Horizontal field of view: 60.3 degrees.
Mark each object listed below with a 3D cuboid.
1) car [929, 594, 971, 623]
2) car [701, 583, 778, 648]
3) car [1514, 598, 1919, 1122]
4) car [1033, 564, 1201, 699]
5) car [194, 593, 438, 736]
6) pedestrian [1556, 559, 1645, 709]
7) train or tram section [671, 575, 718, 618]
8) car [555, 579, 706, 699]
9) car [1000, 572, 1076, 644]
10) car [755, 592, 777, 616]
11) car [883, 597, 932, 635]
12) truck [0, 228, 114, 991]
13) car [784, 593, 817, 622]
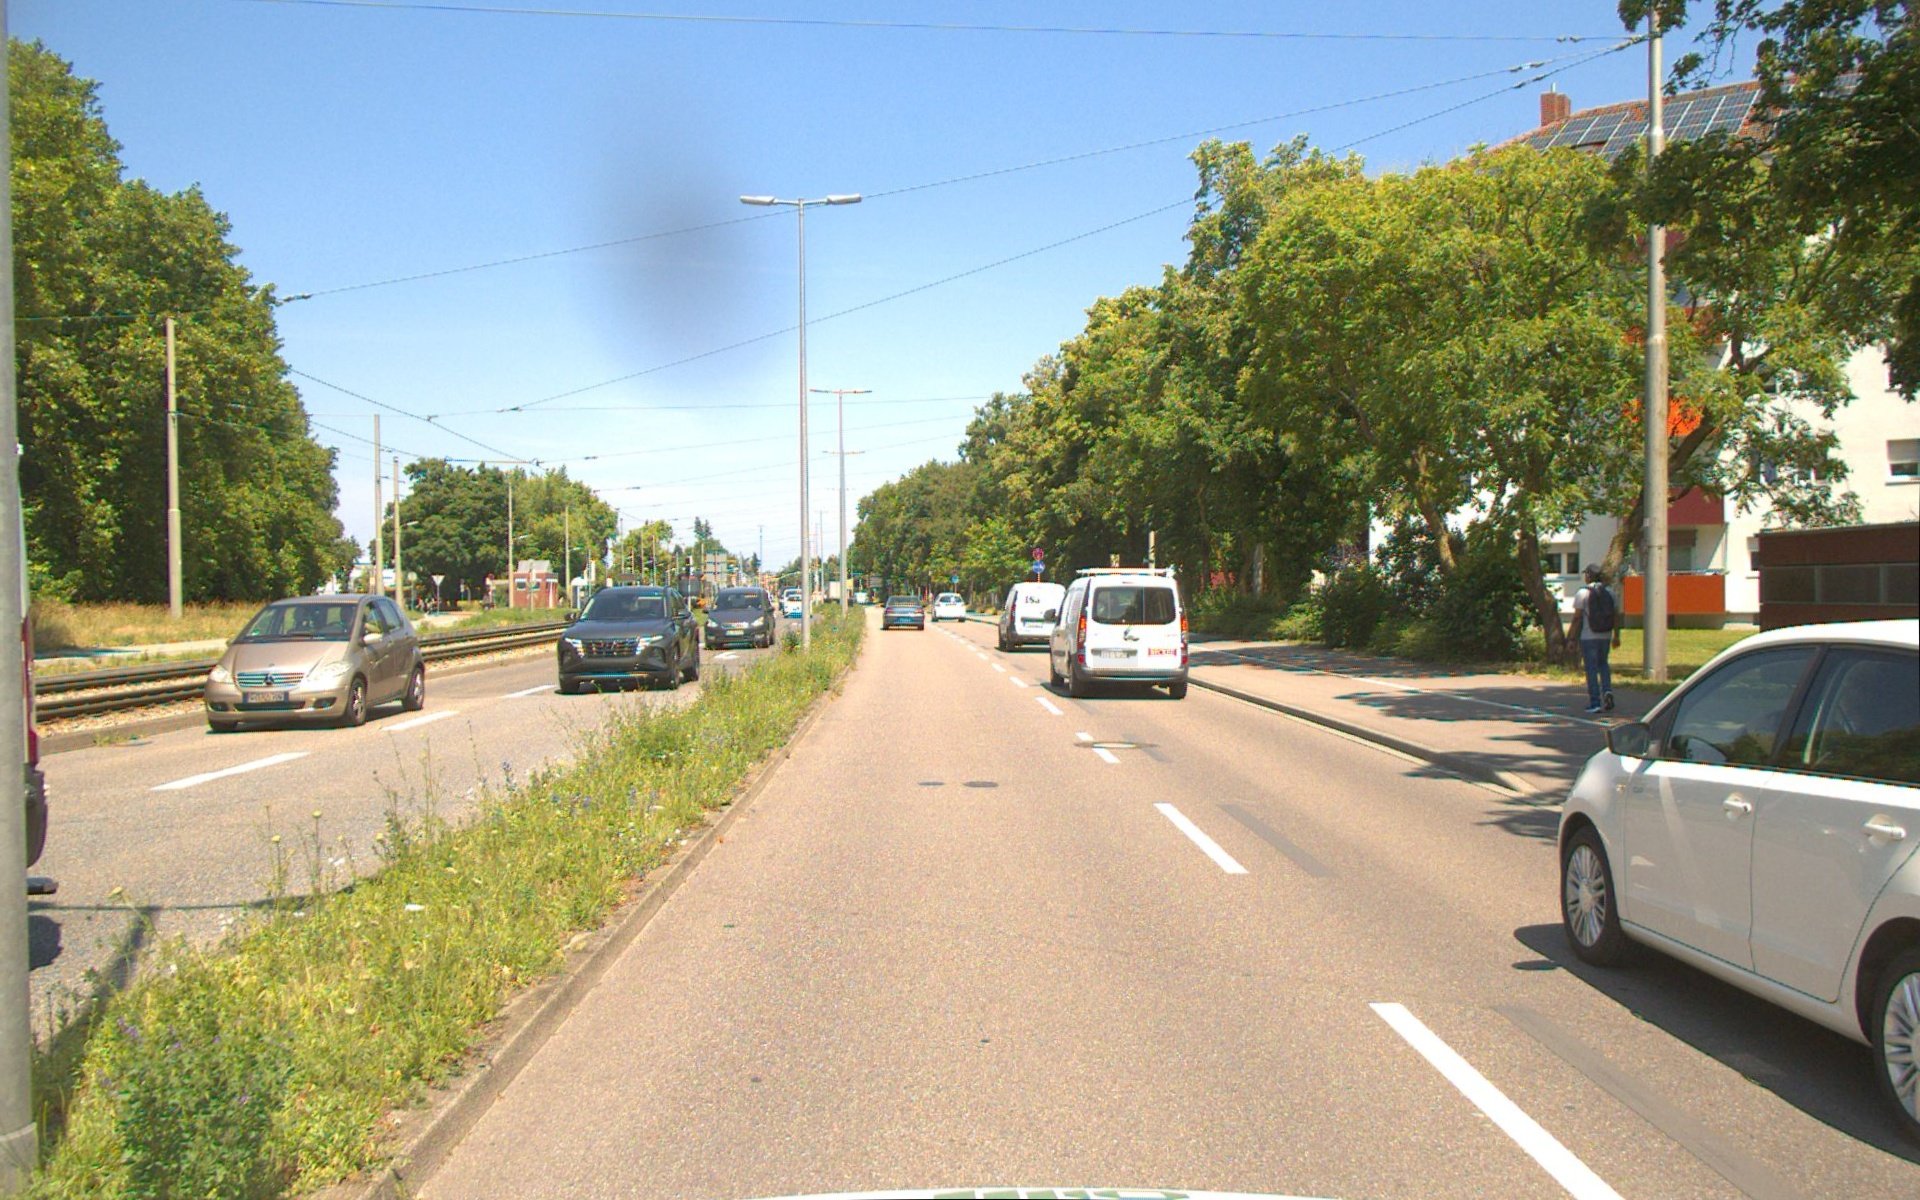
[{"bbox_3d":[-0.558,0.450,89.686,1.769,1.567,3.993,0,0,-7],"label":"car"},{"bbox_3d":[-6.357,0.424,48.104,1.793,1.743,4.790,-2,0,-3],"label":"car"},{"bbox_3d":[3.492,0.740,5.953,1.625,1.475,3.853,1,0,-1],"label":"car"},{"bbox_3d":[2.347,0.451,25.818,1.789,1.915,4.450,1,0,-6],"label":"car"},{"bbox_3d":[-8.159,0.744,21.328,1.793,1.612,3.768,-2,0,-3],"label":"car"},{"bbox_3d":[7.327,0.382,18.950,0.655,1.672,0.856,0,0,-2],"label":"pedestrian"},{"bbox_3d":[-25.879,-0.290,162.745,2.734,3.732,37.464,0,0,-6],"label":"train or tram section"},{"bbox_3d":[-5.430,0.590,27.783,1.793,1.787,4.485,-2,0,-3],"label":"car"},{"bbox_3d":[2.062,0.196,44.712,1.693,1.845,3.998,1,0,-3],"label":"car"},{"bbox_3d":[-17.555,0.333,149.383,1.853,2.053,5.075,-3,0,-7],"label":"car"},{"bbox_3d":[-2.220,0.635,68.621,1.767,1.512,3.995,0,0,-6],"label":"car"},{"bbox_3d":[-4.489,0.068,4.019,2.039,2.796,5.545,-2,0,-1],"label":"truck"},{"bbox_3d":[-10.137,0.448,105.391,1.793,1.769,4.036,-2,0,-2],"label":"car"}]
